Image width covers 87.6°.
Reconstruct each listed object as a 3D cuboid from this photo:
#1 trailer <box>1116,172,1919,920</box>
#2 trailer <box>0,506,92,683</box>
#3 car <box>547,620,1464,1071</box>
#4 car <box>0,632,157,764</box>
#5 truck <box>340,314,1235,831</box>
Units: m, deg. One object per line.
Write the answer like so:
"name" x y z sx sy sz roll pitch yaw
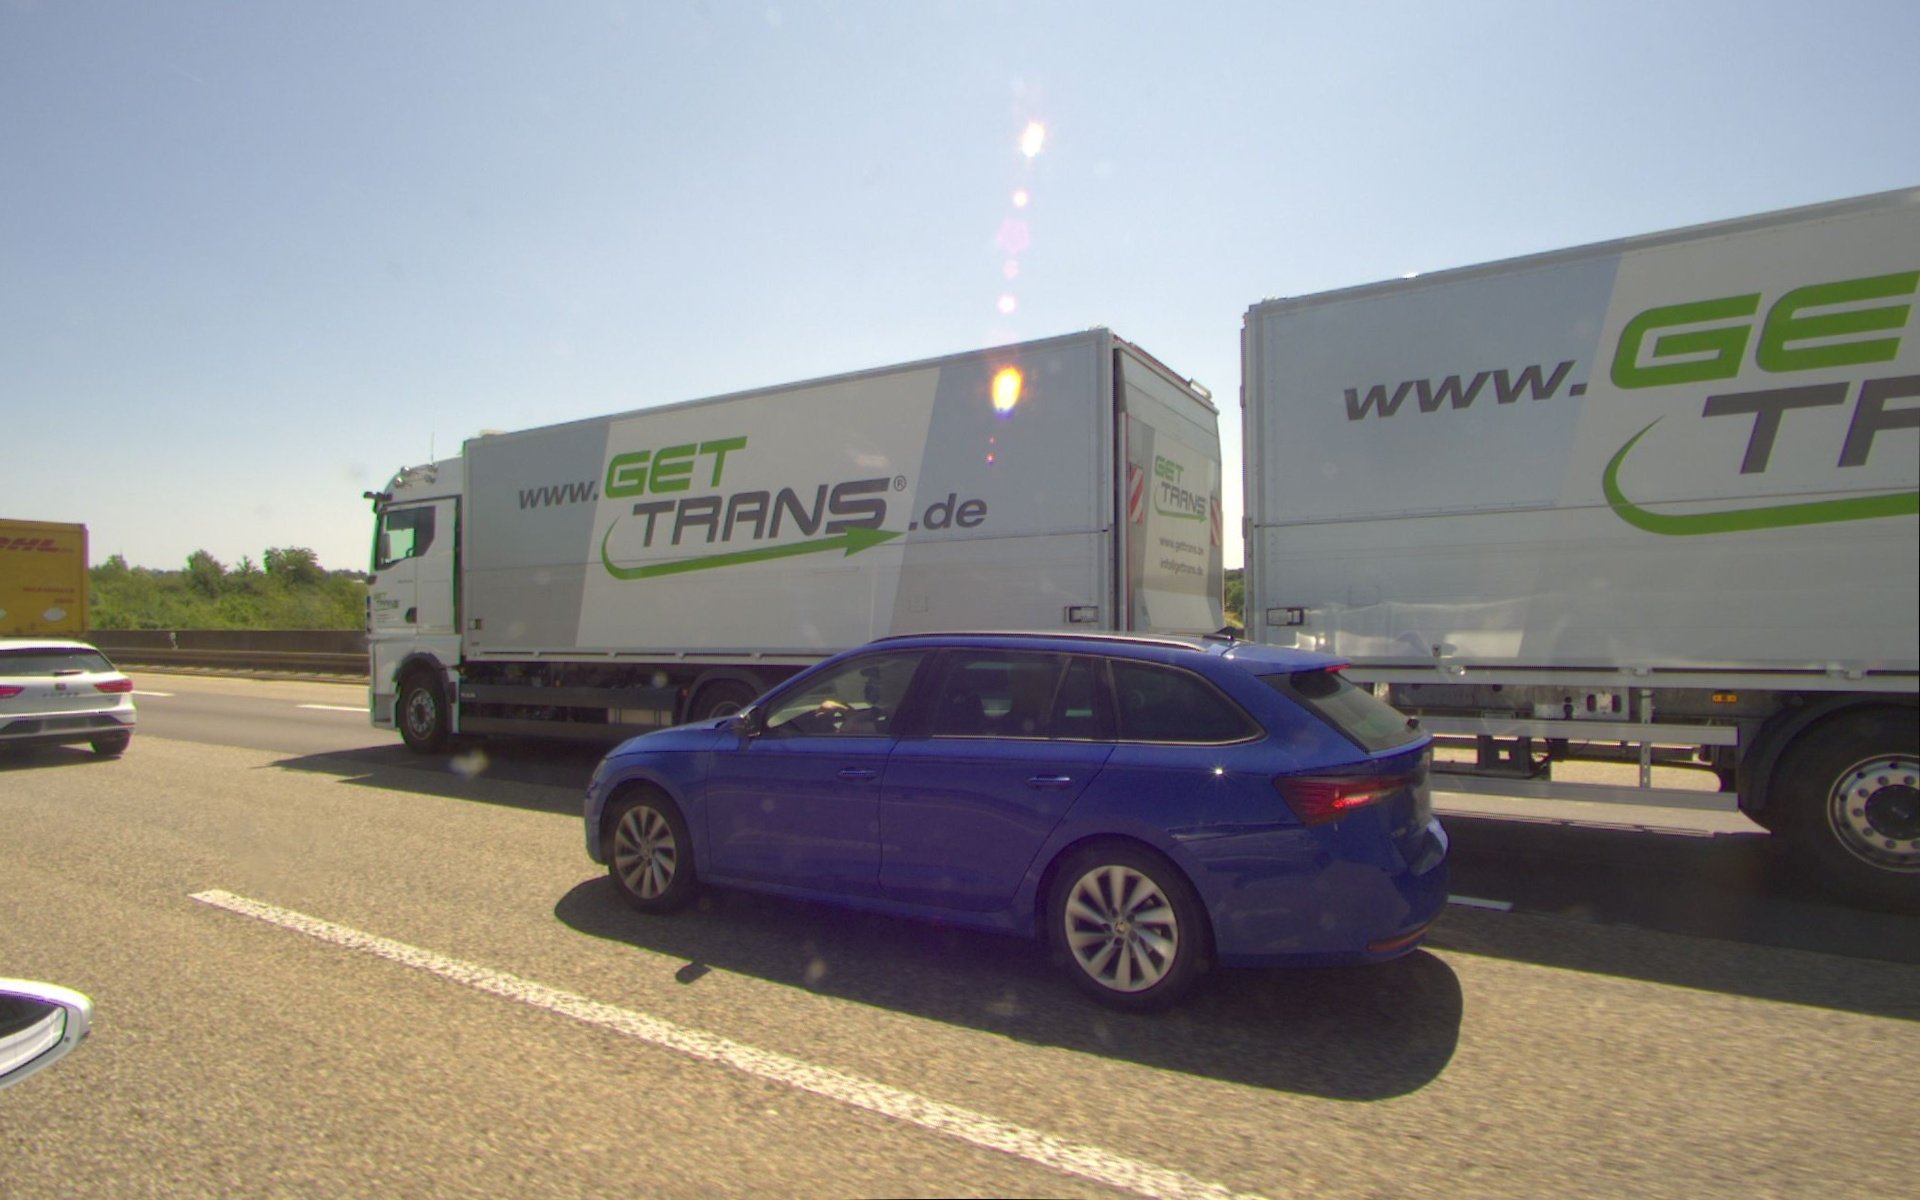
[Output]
"trailer" 5.307 -0.224 6.149 8.171 3.640 2.840 -1 -2 32
"trailer" -25.684 -0.012 25.713 8.804 4.074 2.697 -2 -2 32
"car" 0.050 0.851 5.129 4.434 1.459 1.707 -1 -1 31
"car" -11.770 1.096 12.281 4.128 1.405 1.778 -1 -1 32
"truck" -2.636 -0.030 11.105 10.615 3.648 2.846 -2 -2 32
